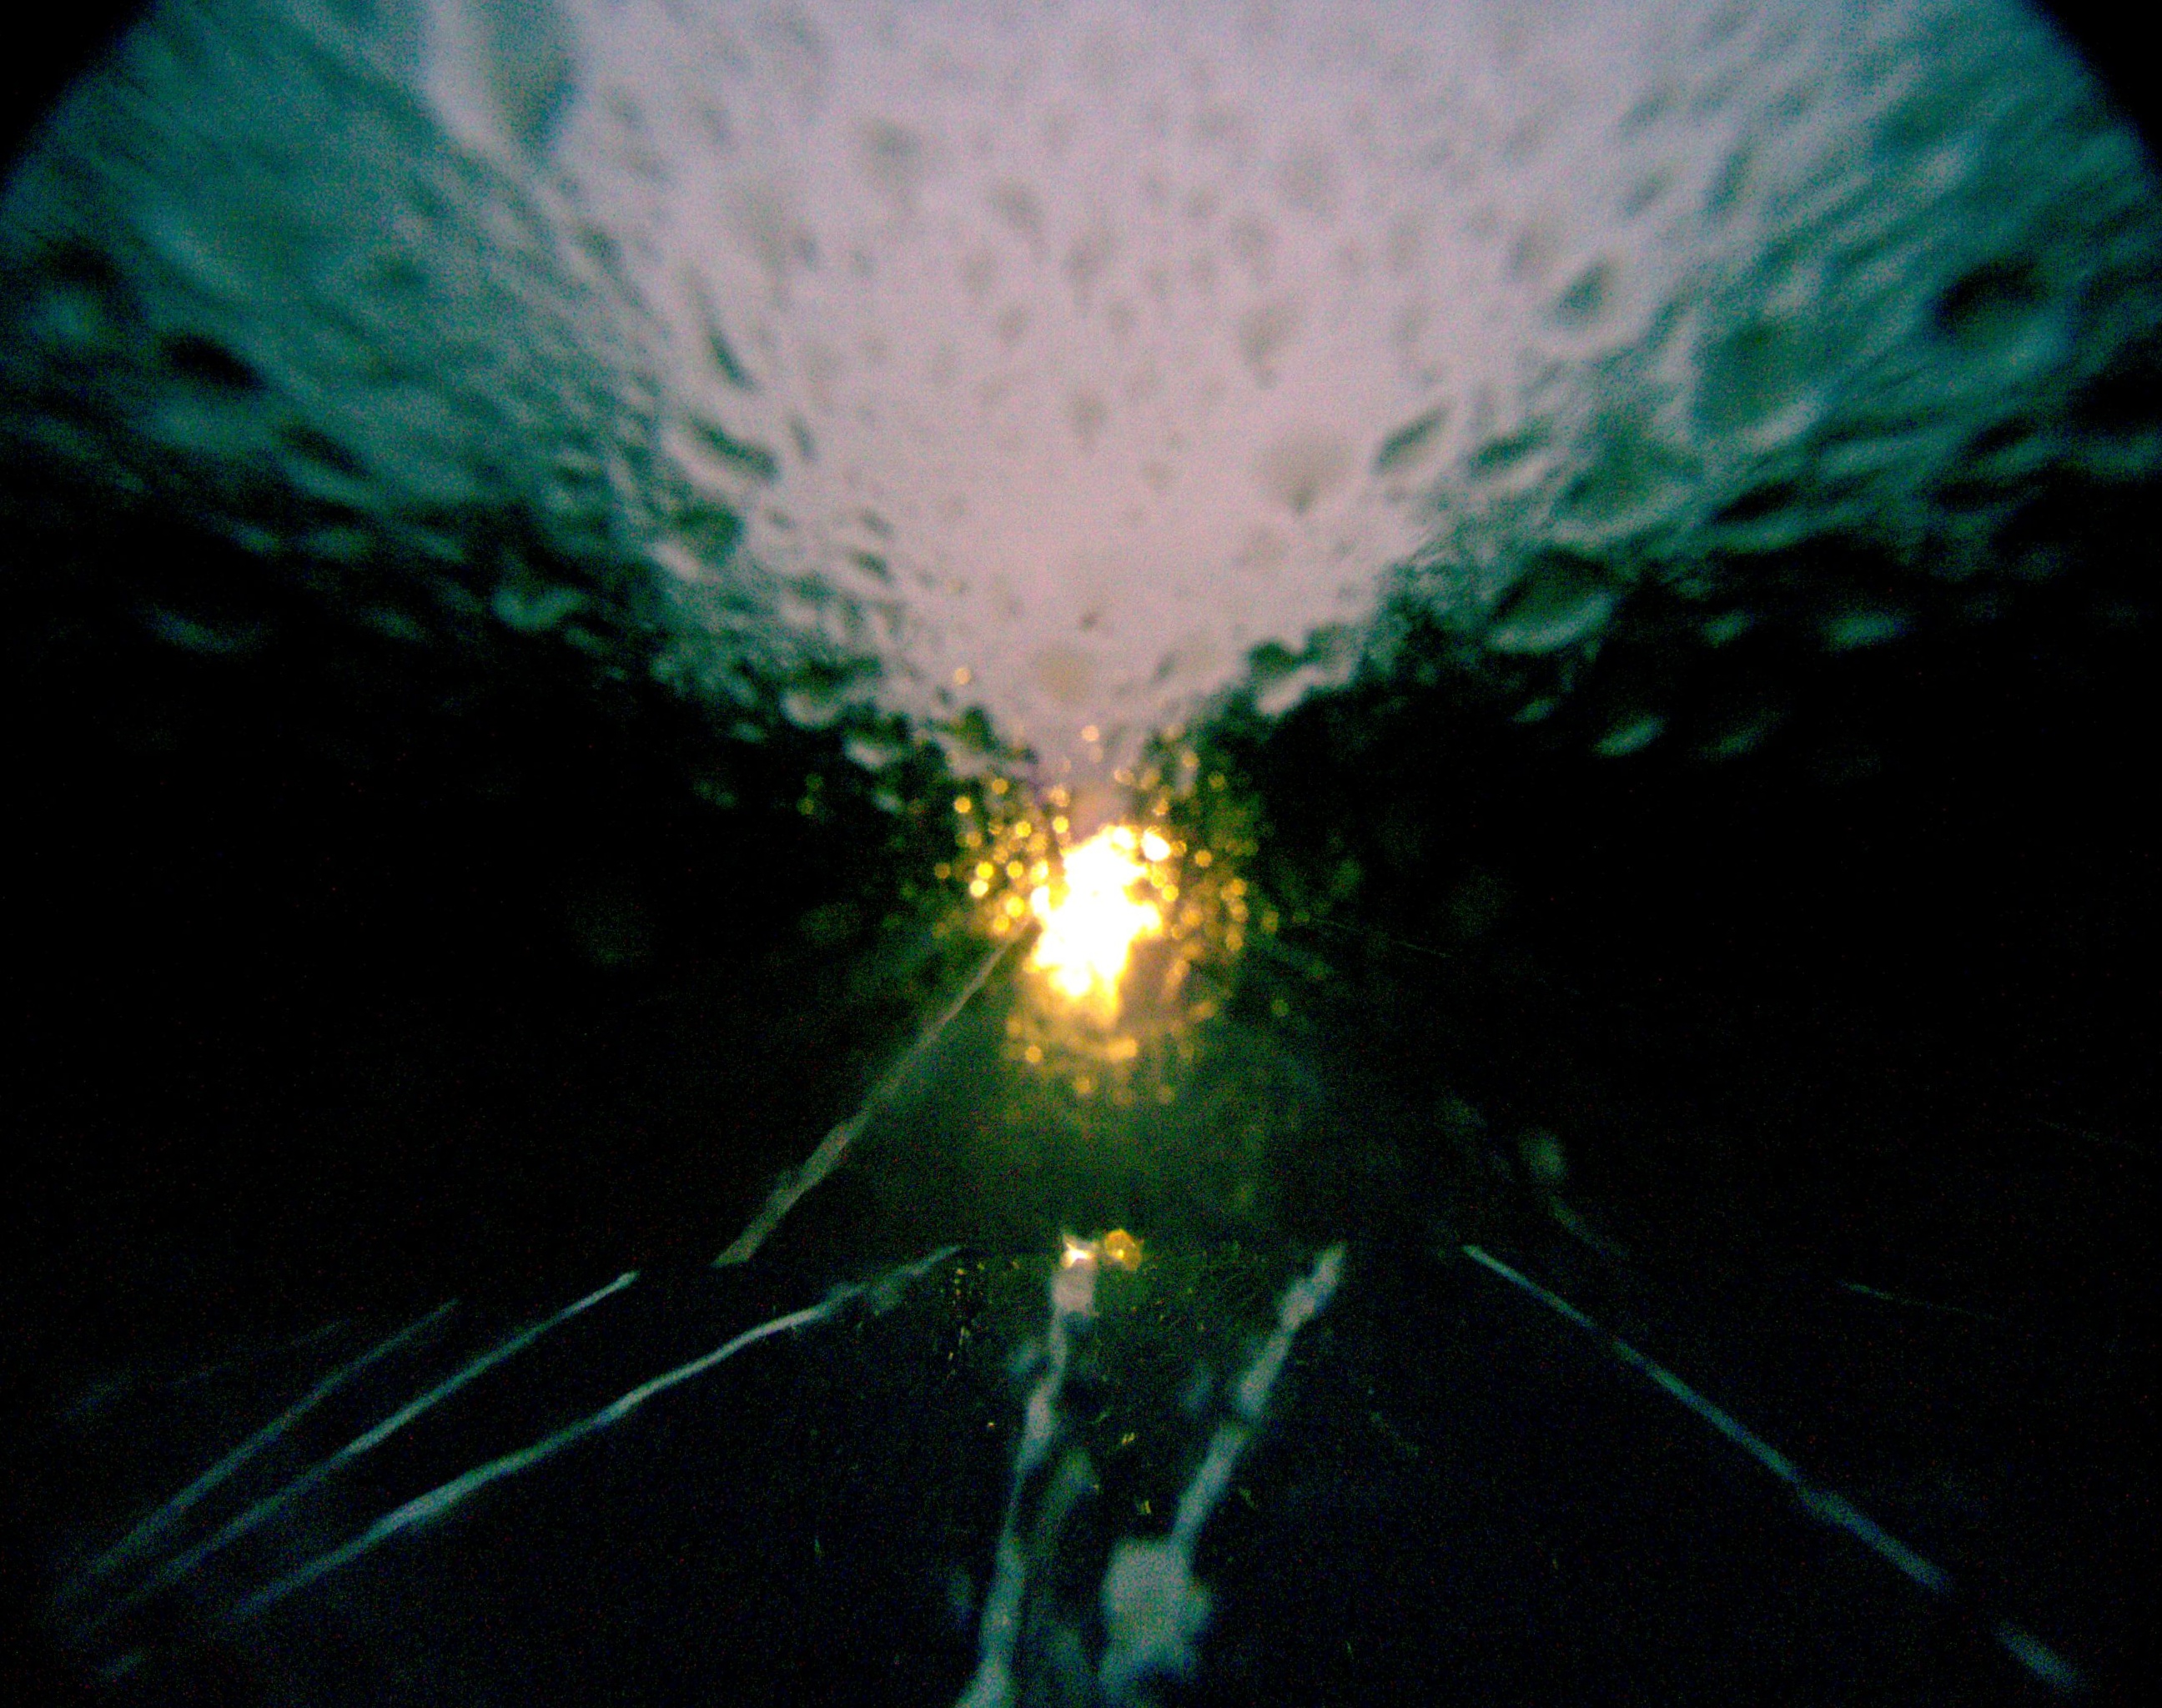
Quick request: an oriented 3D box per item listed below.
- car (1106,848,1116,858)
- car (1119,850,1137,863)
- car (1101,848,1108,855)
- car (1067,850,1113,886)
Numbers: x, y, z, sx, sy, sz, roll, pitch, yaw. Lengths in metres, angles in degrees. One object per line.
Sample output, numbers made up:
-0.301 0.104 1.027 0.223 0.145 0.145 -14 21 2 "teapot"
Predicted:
5.685 -0.286 145.126 1.710 1.812 4.285 -1 1 1 "car"
5.209 0.294 84.606 1.623 1.381 4.071 -1 0 0 "car"
5.319 -0.524 173.053 1.585 1.542 3.999 -1 1 0 "car"
0.417 0.555 32.612 1.845 1.390 4.000 -1 1 1 "car"
